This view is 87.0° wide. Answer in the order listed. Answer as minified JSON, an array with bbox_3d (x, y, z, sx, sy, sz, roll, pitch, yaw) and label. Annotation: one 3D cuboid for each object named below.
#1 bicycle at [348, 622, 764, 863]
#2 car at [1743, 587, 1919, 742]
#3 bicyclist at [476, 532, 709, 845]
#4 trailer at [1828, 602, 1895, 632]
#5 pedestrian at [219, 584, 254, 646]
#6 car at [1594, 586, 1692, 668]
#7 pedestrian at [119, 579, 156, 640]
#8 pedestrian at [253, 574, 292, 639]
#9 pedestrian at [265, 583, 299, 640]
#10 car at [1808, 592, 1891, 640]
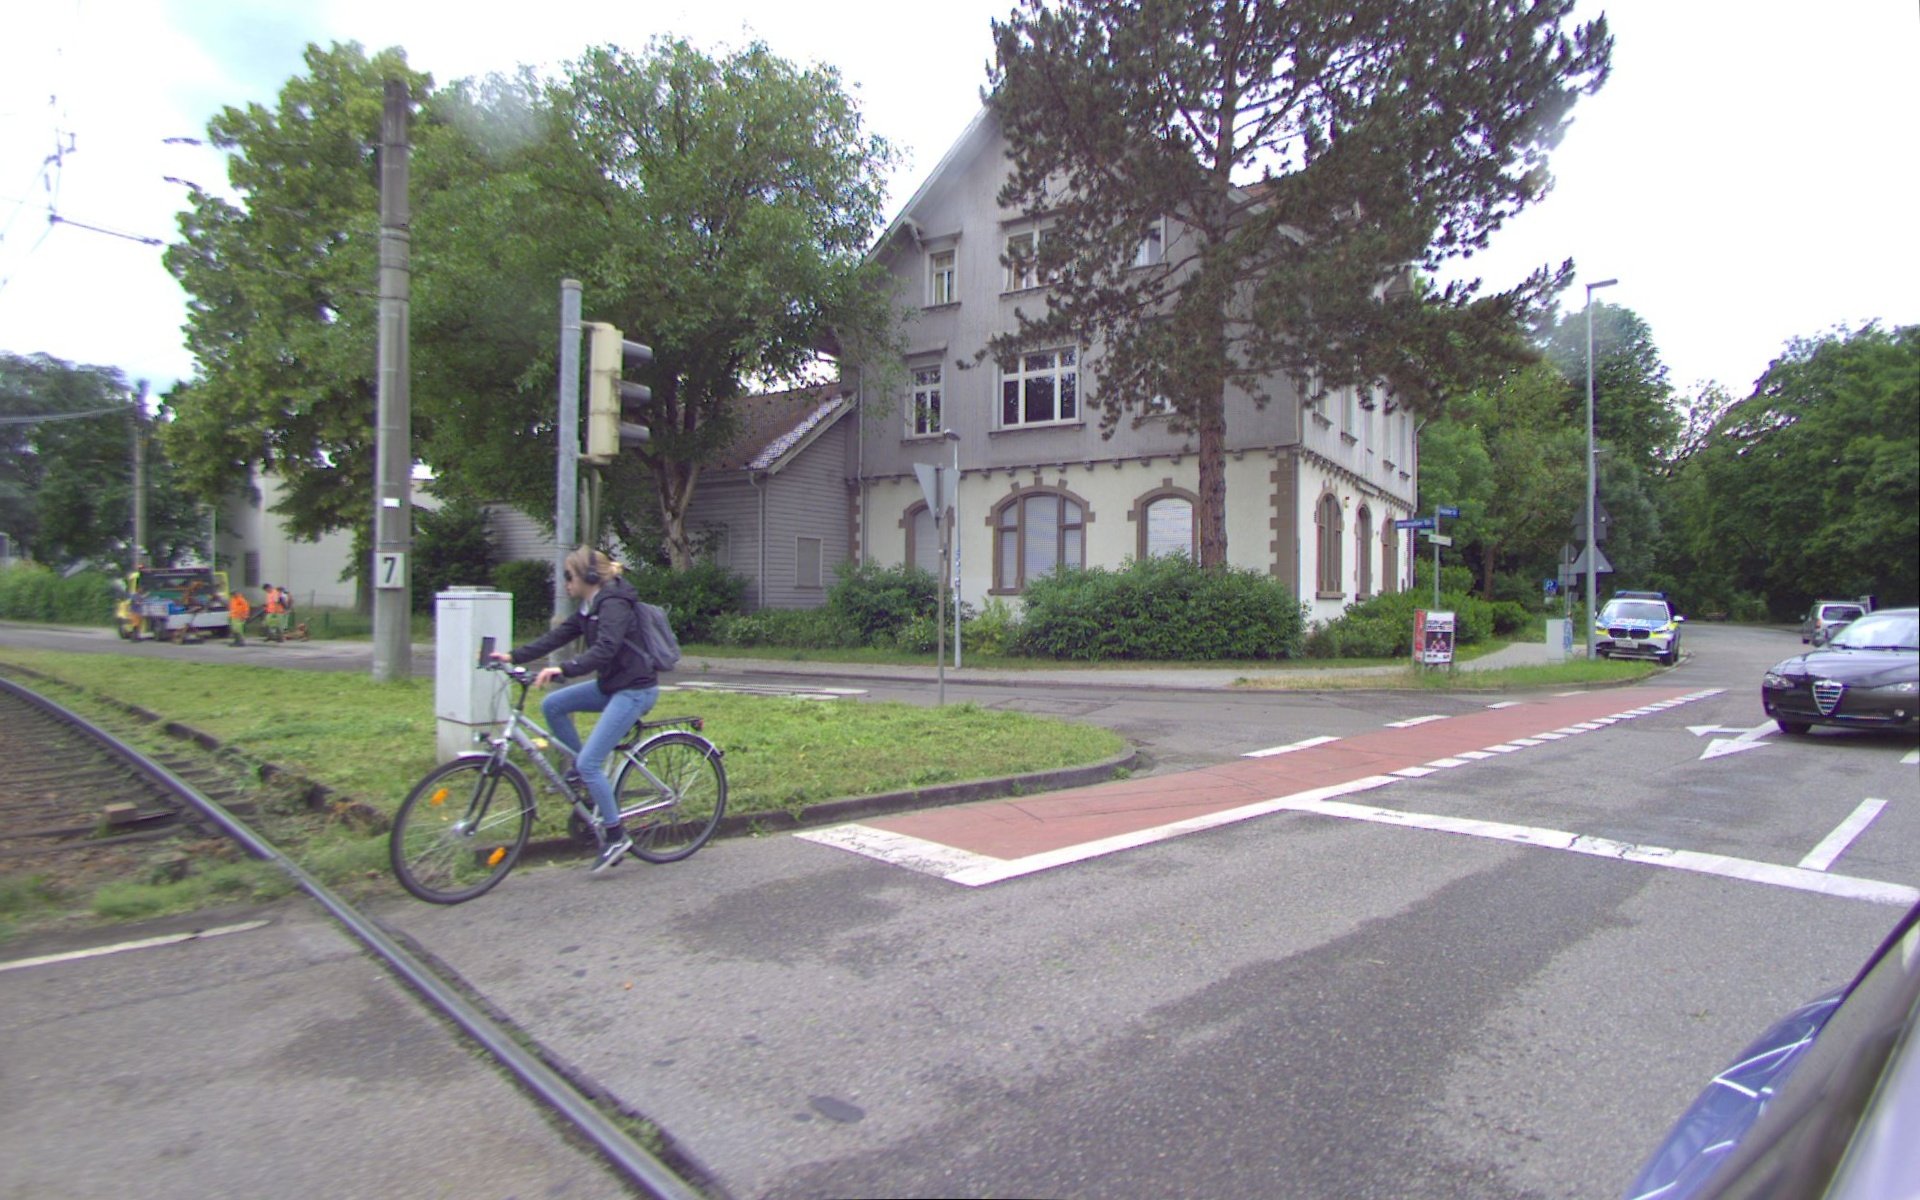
[{"bbox_3d":[-1.972,0.636,5.218,1.995,0.993,0.383,0,1,-43],"label":"bicycle"},{"bbox_3d":[10.986,0.632,11.154,4.446,1.475,1.807,1,0,-23],"label":"car"},{"bbox_3d":[-1.891,0.420,5.232,0.945,1.443,0.621,0,-4,-43],"label":"bicyclist"},{"bbox_3d":[34.555,0.611,38.853,1.562,0.998,3.420,1,2,36],"label":"trailer"},{"bbox_3d":[-21.184,0.442,29.645,0.570,1.784,0.630,0,0,27],"label":"pedestrian"},{"bbox_3d":[17.741,0.643,26.303,1.925,1.873,3.950,3,2,35],"label":"car"},{"bbox_3d":[-26.151,0.297,32.180,0.600,1.892,0.762,0,0,32],"label":"pedestrian"},{"bbox_3d":[-20.436,0.188,30.073,0.858,1.878,0.679,2,-1,-40],"label":"pedestrian"},{"bbox_3d":[-22.385,0.368,33.431,0.699,1.863,0.609,1,0,3],"label":"pedestrian"},{"bbox_3d":[36.765,0.632,41.931,2.081,1.881,4.169,0,0,35],"label":"car"}]
